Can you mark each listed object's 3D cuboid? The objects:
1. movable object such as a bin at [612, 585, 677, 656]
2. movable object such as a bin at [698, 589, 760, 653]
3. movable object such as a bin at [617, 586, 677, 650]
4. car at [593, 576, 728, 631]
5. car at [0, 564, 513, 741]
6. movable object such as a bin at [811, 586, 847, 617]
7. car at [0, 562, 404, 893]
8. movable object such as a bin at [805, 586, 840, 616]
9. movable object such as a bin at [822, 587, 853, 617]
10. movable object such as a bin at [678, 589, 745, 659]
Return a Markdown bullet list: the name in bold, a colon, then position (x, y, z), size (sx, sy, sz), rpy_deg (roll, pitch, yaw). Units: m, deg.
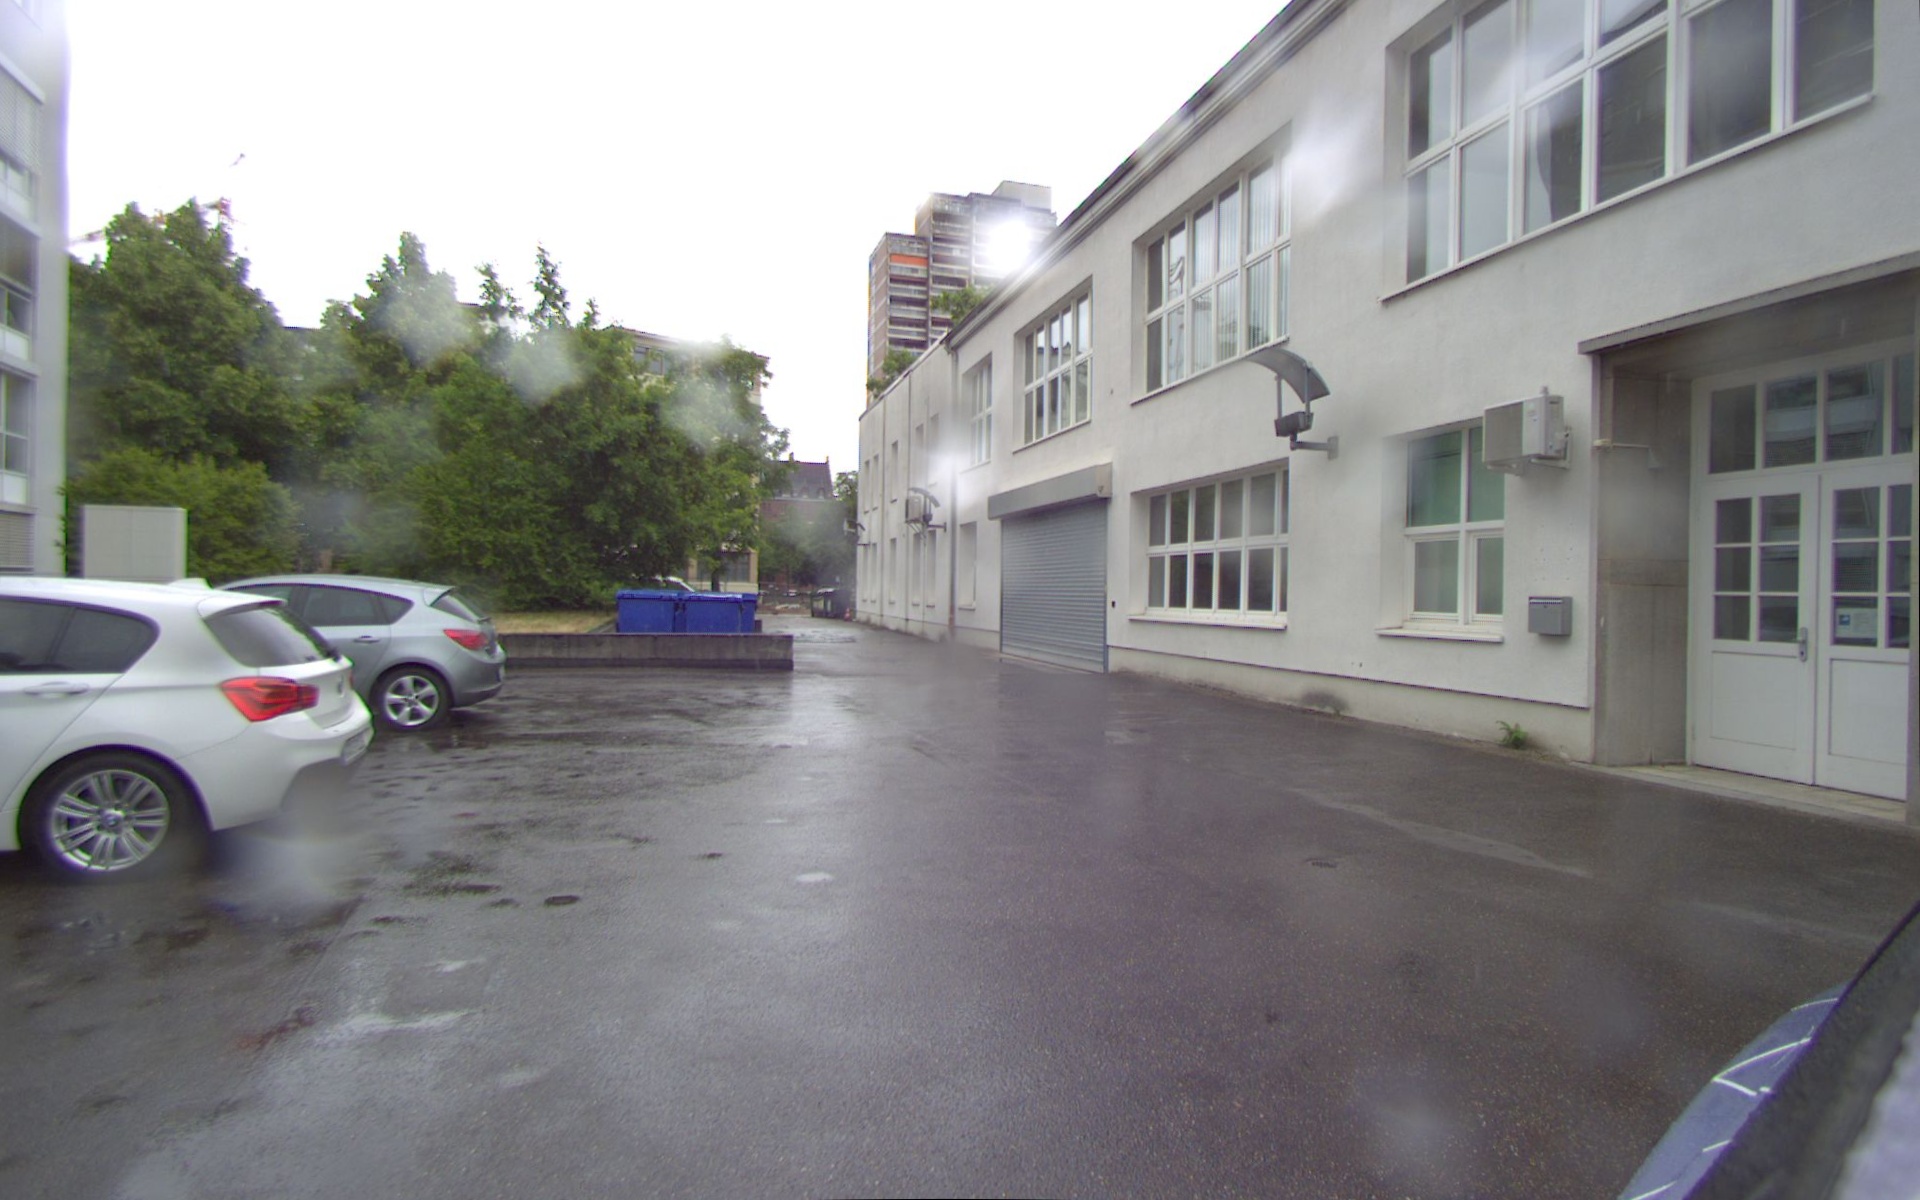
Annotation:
- **movable object such as a bin**: position (-6.463, 0.409, 20.806), size (1.207, 1.375, 1.974), rpy_deg (-1, -1, -16)
- **movable object such as a bin**: position (-5.303, 0.478, 23.126), size (1.286, 1.375, 1.908), rpy_deg (-1, -1, -16)
- **movable object such as a bin**: position (-7.006, 0.403, 22.735), size (1.207, 1.375, 1.974), rpy_deg (-1, -1, -16)
- **car**: position (-10.875, 0.140, 37.086), size (4.599, 1.906, 2.126), rpy_deg (-1, -2, -13)
- **car**: position (-6.851, 0.462, 10.201), size (4.132, 1.508, 2.004), rpy_deg (1, 0, -19)
- **movable object such as a bin**: position (-6.432, 0.066, 49.487), size (1.461, 1.467, 1.316), rpy_deg (0, -1, -20)
- **car**: position (-5.436, 0.569, 5.299), size (4.132, 1.508, 2.004), rpy_deg (1, 0, -19)
- **movable object such as a bin**: position (-6.887, 0.063, 50.760), size (1.461, 1.467, 1.316), rpy_deg (0, -1, -20)
- **movable object such as a bin**: position (-5.804, 0.105, 48.013), size (1.163, 1.392, 1.316), rpy_deg (0, -1, -20)
- **movable object such as a bin**: position (-5.217, 0.488, 21.158), size (1.286, 1.375, 1.908), rpy_deg (-1, -1, -16)
